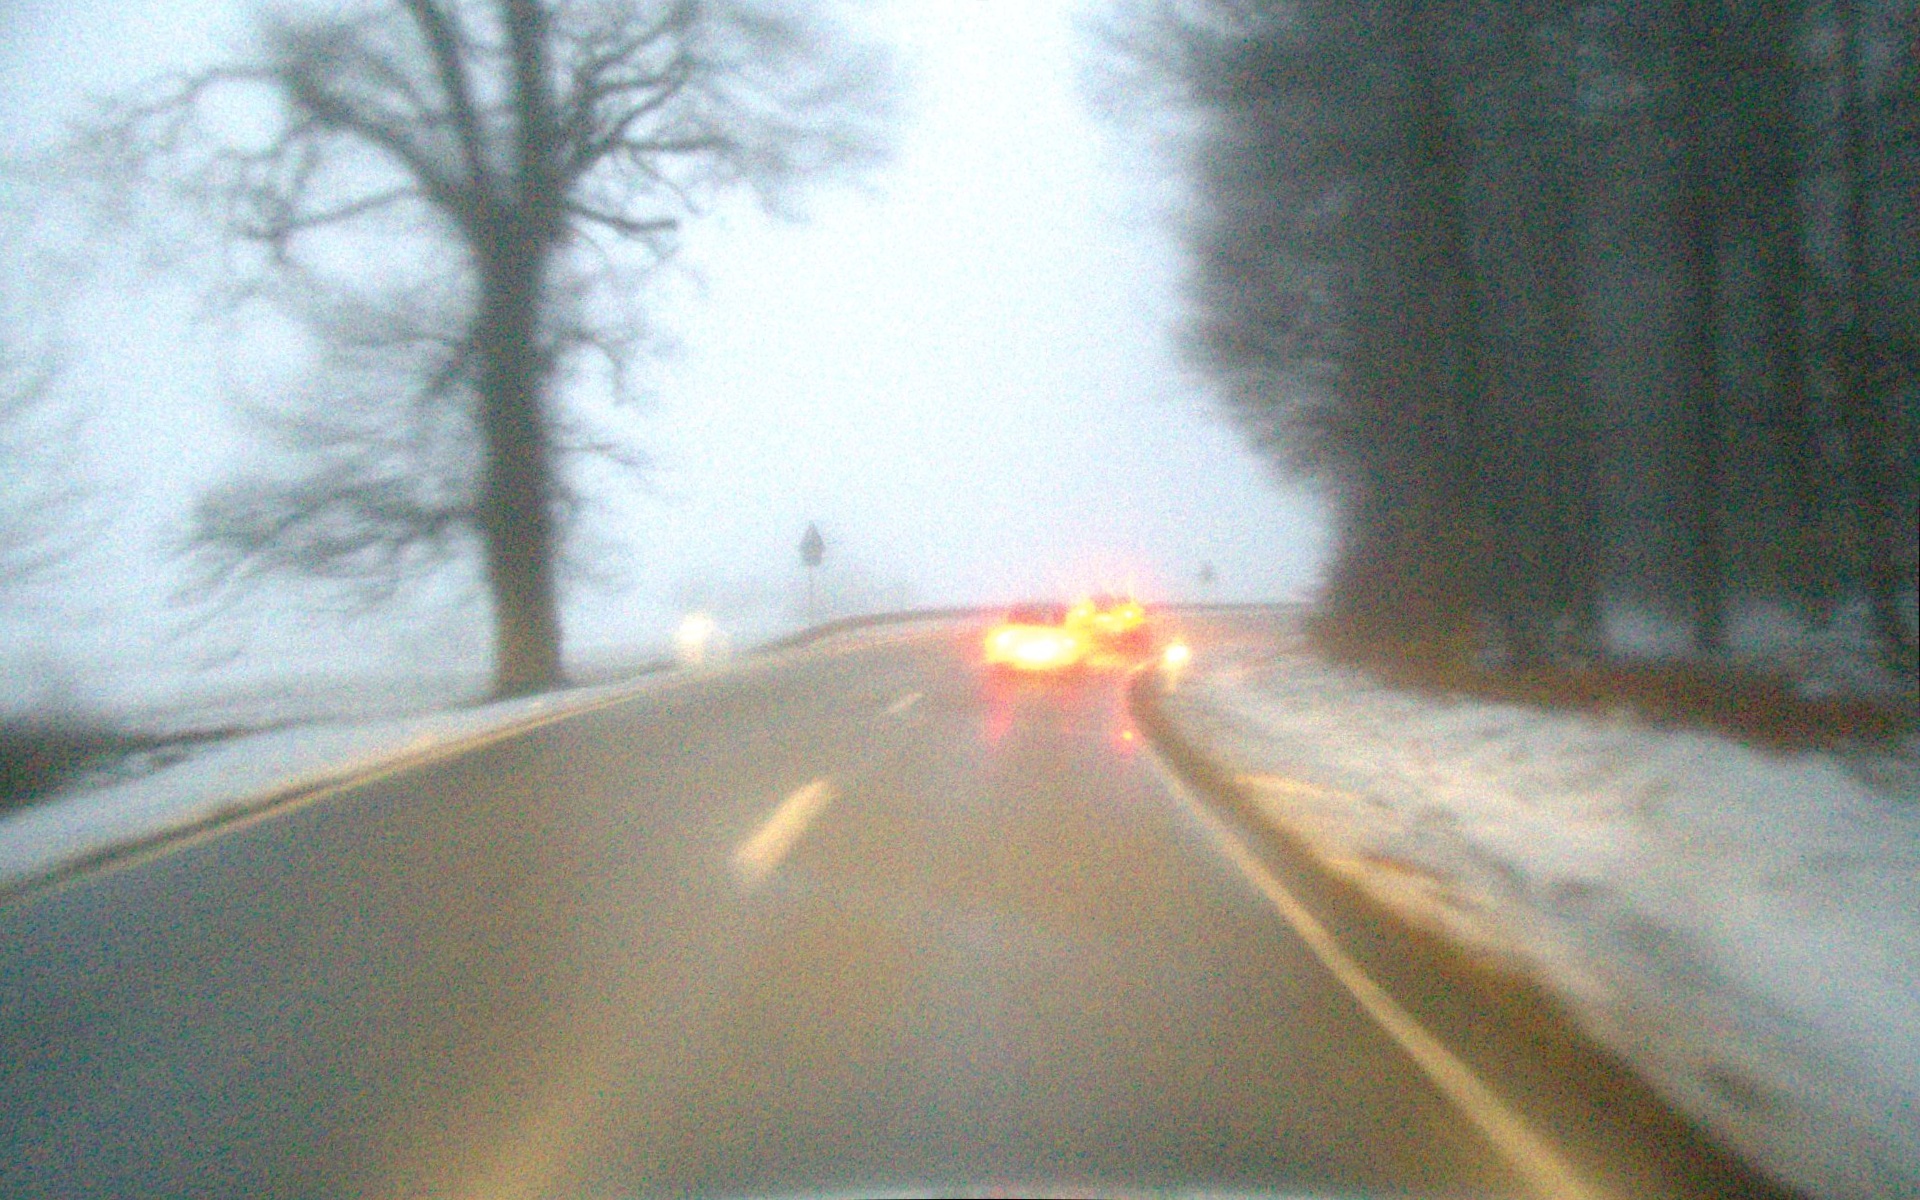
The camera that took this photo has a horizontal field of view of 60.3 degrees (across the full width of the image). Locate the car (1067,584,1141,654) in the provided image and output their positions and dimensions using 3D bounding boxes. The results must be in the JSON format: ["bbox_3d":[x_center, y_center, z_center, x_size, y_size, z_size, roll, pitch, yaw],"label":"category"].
[{"bbox_3d":[3.986,0.484,46.208,1.951,1.814,4.002,1,1,4],"label":"car"}]

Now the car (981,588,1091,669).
[{"bbox_3d":[1.552,0.514,32.386,1.904,1.405,4.003,-1,1,6],"label":"car"}]
